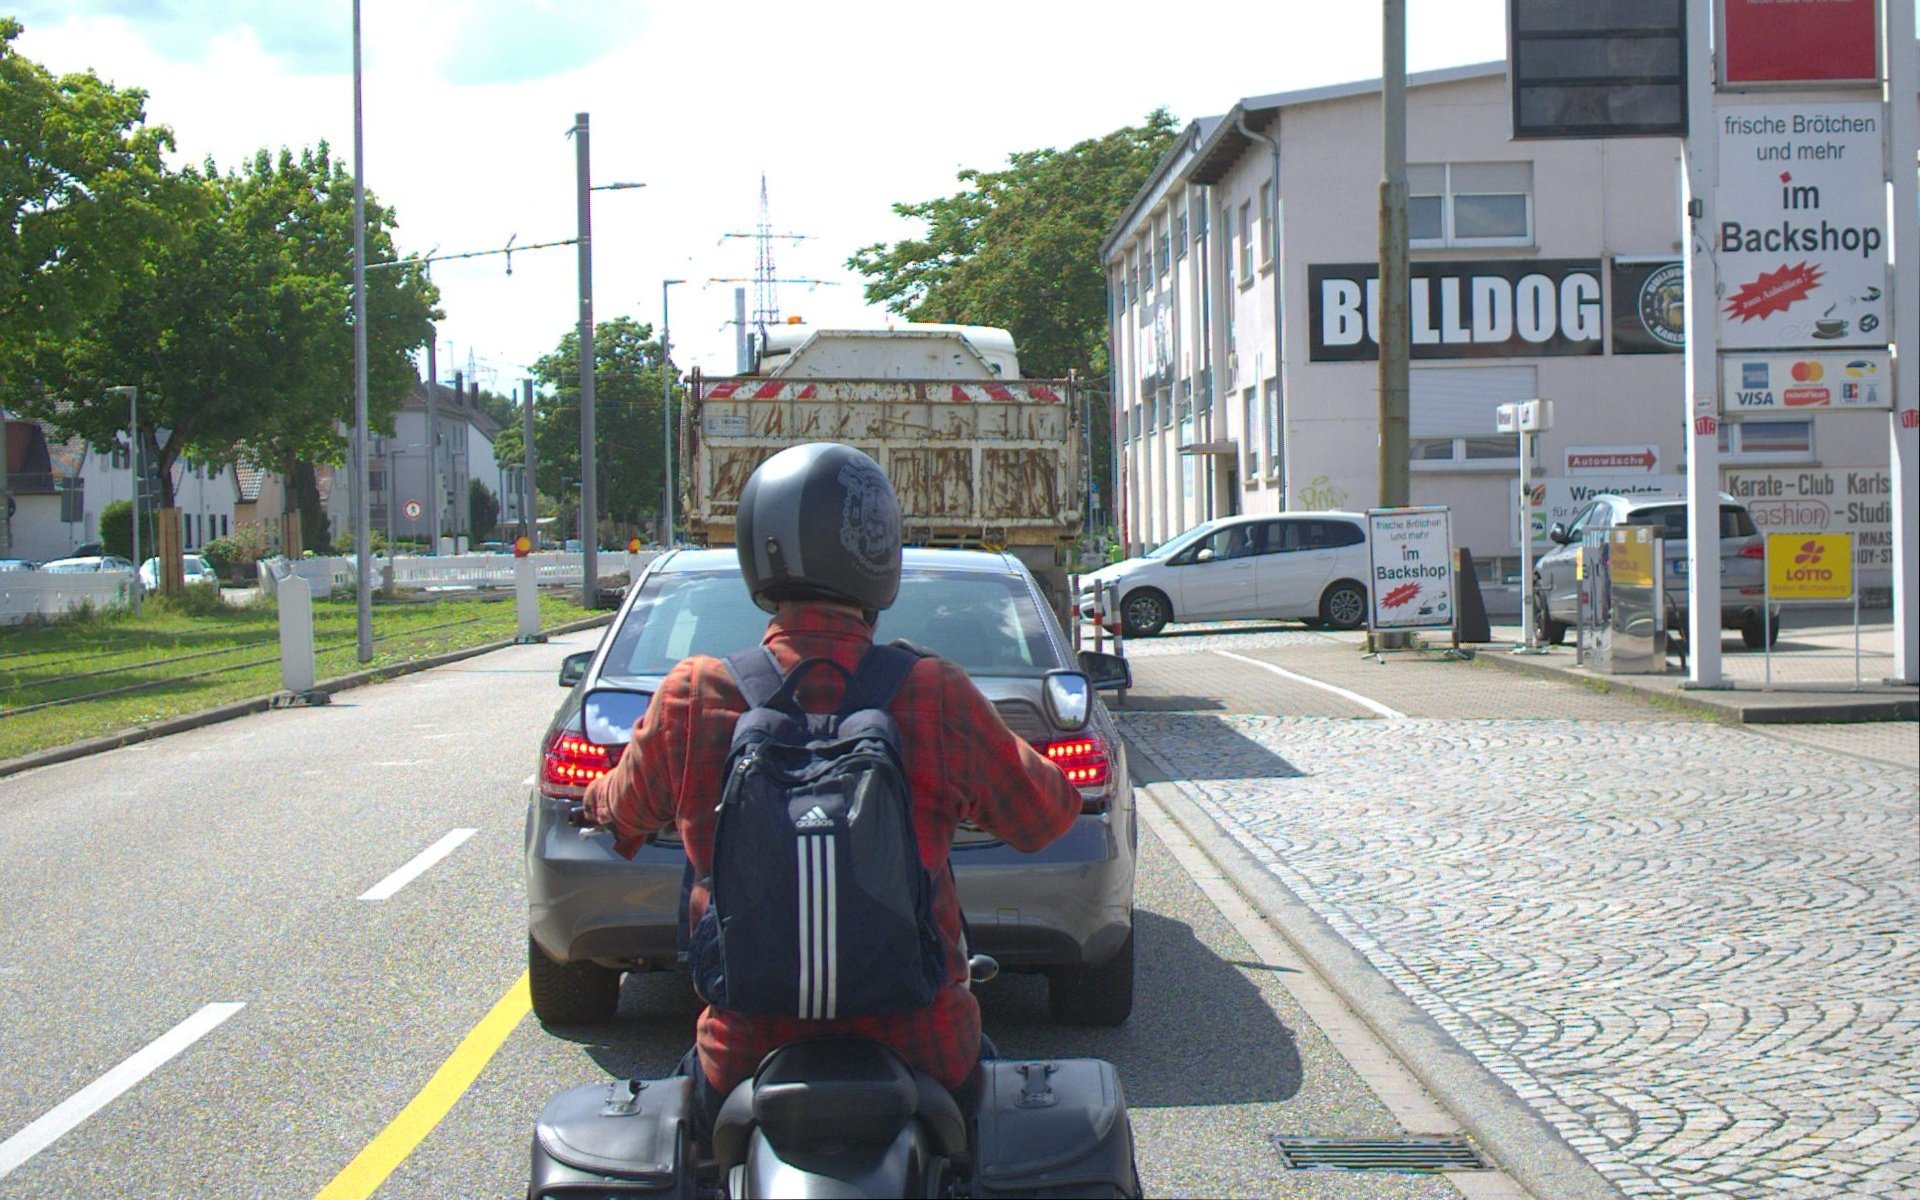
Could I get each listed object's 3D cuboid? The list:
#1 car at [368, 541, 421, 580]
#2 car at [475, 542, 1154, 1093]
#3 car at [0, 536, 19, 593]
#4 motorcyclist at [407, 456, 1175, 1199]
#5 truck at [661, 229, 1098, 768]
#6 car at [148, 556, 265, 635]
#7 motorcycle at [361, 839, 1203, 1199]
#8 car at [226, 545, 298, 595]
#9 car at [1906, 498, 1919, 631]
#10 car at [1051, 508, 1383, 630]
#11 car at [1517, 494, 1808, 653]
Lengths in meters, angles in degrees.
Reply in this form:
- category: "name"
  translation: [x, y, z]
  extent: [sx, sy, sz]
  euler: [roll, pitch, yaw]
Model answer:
- category: "car"
  translation: [-26.419, -1.854, 160.668]
  extent: [1.776, 1.717, 4.250]
  euler: [-1, 1, 0]
- category: "car"
  translation: [-0.417, 0.559, 11.333]
  extent: [1.823, 1.447, 4.000]
  euler: [1, 1, -1]
- category: "car"
  translation: [-30.035, -1.065, 104.413]
  extent: [1.776, 1.717, 4.128]
  euler: [-1, 1, 0]
- category: "motorcyclist"
  translation: [-0.218, 0.609, 5.031]
  extent: [0.979, 1.597, 1.088]
  euler: [-1, 1, -1]
- category: "truck"
  translation: [-0.542, -0.719, 25.368]
  extent: [2.638, 3.285, 8.057]
  euler: [-1, 1, -1]
- category: "car"
  translation: [-17.490, -0.134, 79.966]
  extent: [1.776, 1.717, 4.128]
  euler: [-1, 1, 0]
- category: "motorcycle"
  translation: [-0.214, 0.951, 5.343]
  extent: [0.979, 0.894, 2.653]
  euler: [-1, 1, -1]
- category: "car"
  translation: [-25.406, -1.102, 125.249]
  extent: [1.776, 1.717, 4.128]
  euler: [-1, 1, 0]
- category: "car"
  translation: [11.736, -0.384, 37.093]
  extent: [1.806, 1.498, 3.834]
  euler: [-1, 1, -3]
- category: "car"
  translation: [3.493, -0.439, 47.032]
  extent: [4.229, 1.537, 1.673]
  euler: [-1, 1, -8]
- category: "car"
  translation: [7.380, -0.309, 36.524]
  extent: [1.667, 1.557, 4.245]
  euler: [-1, 1, -8]
